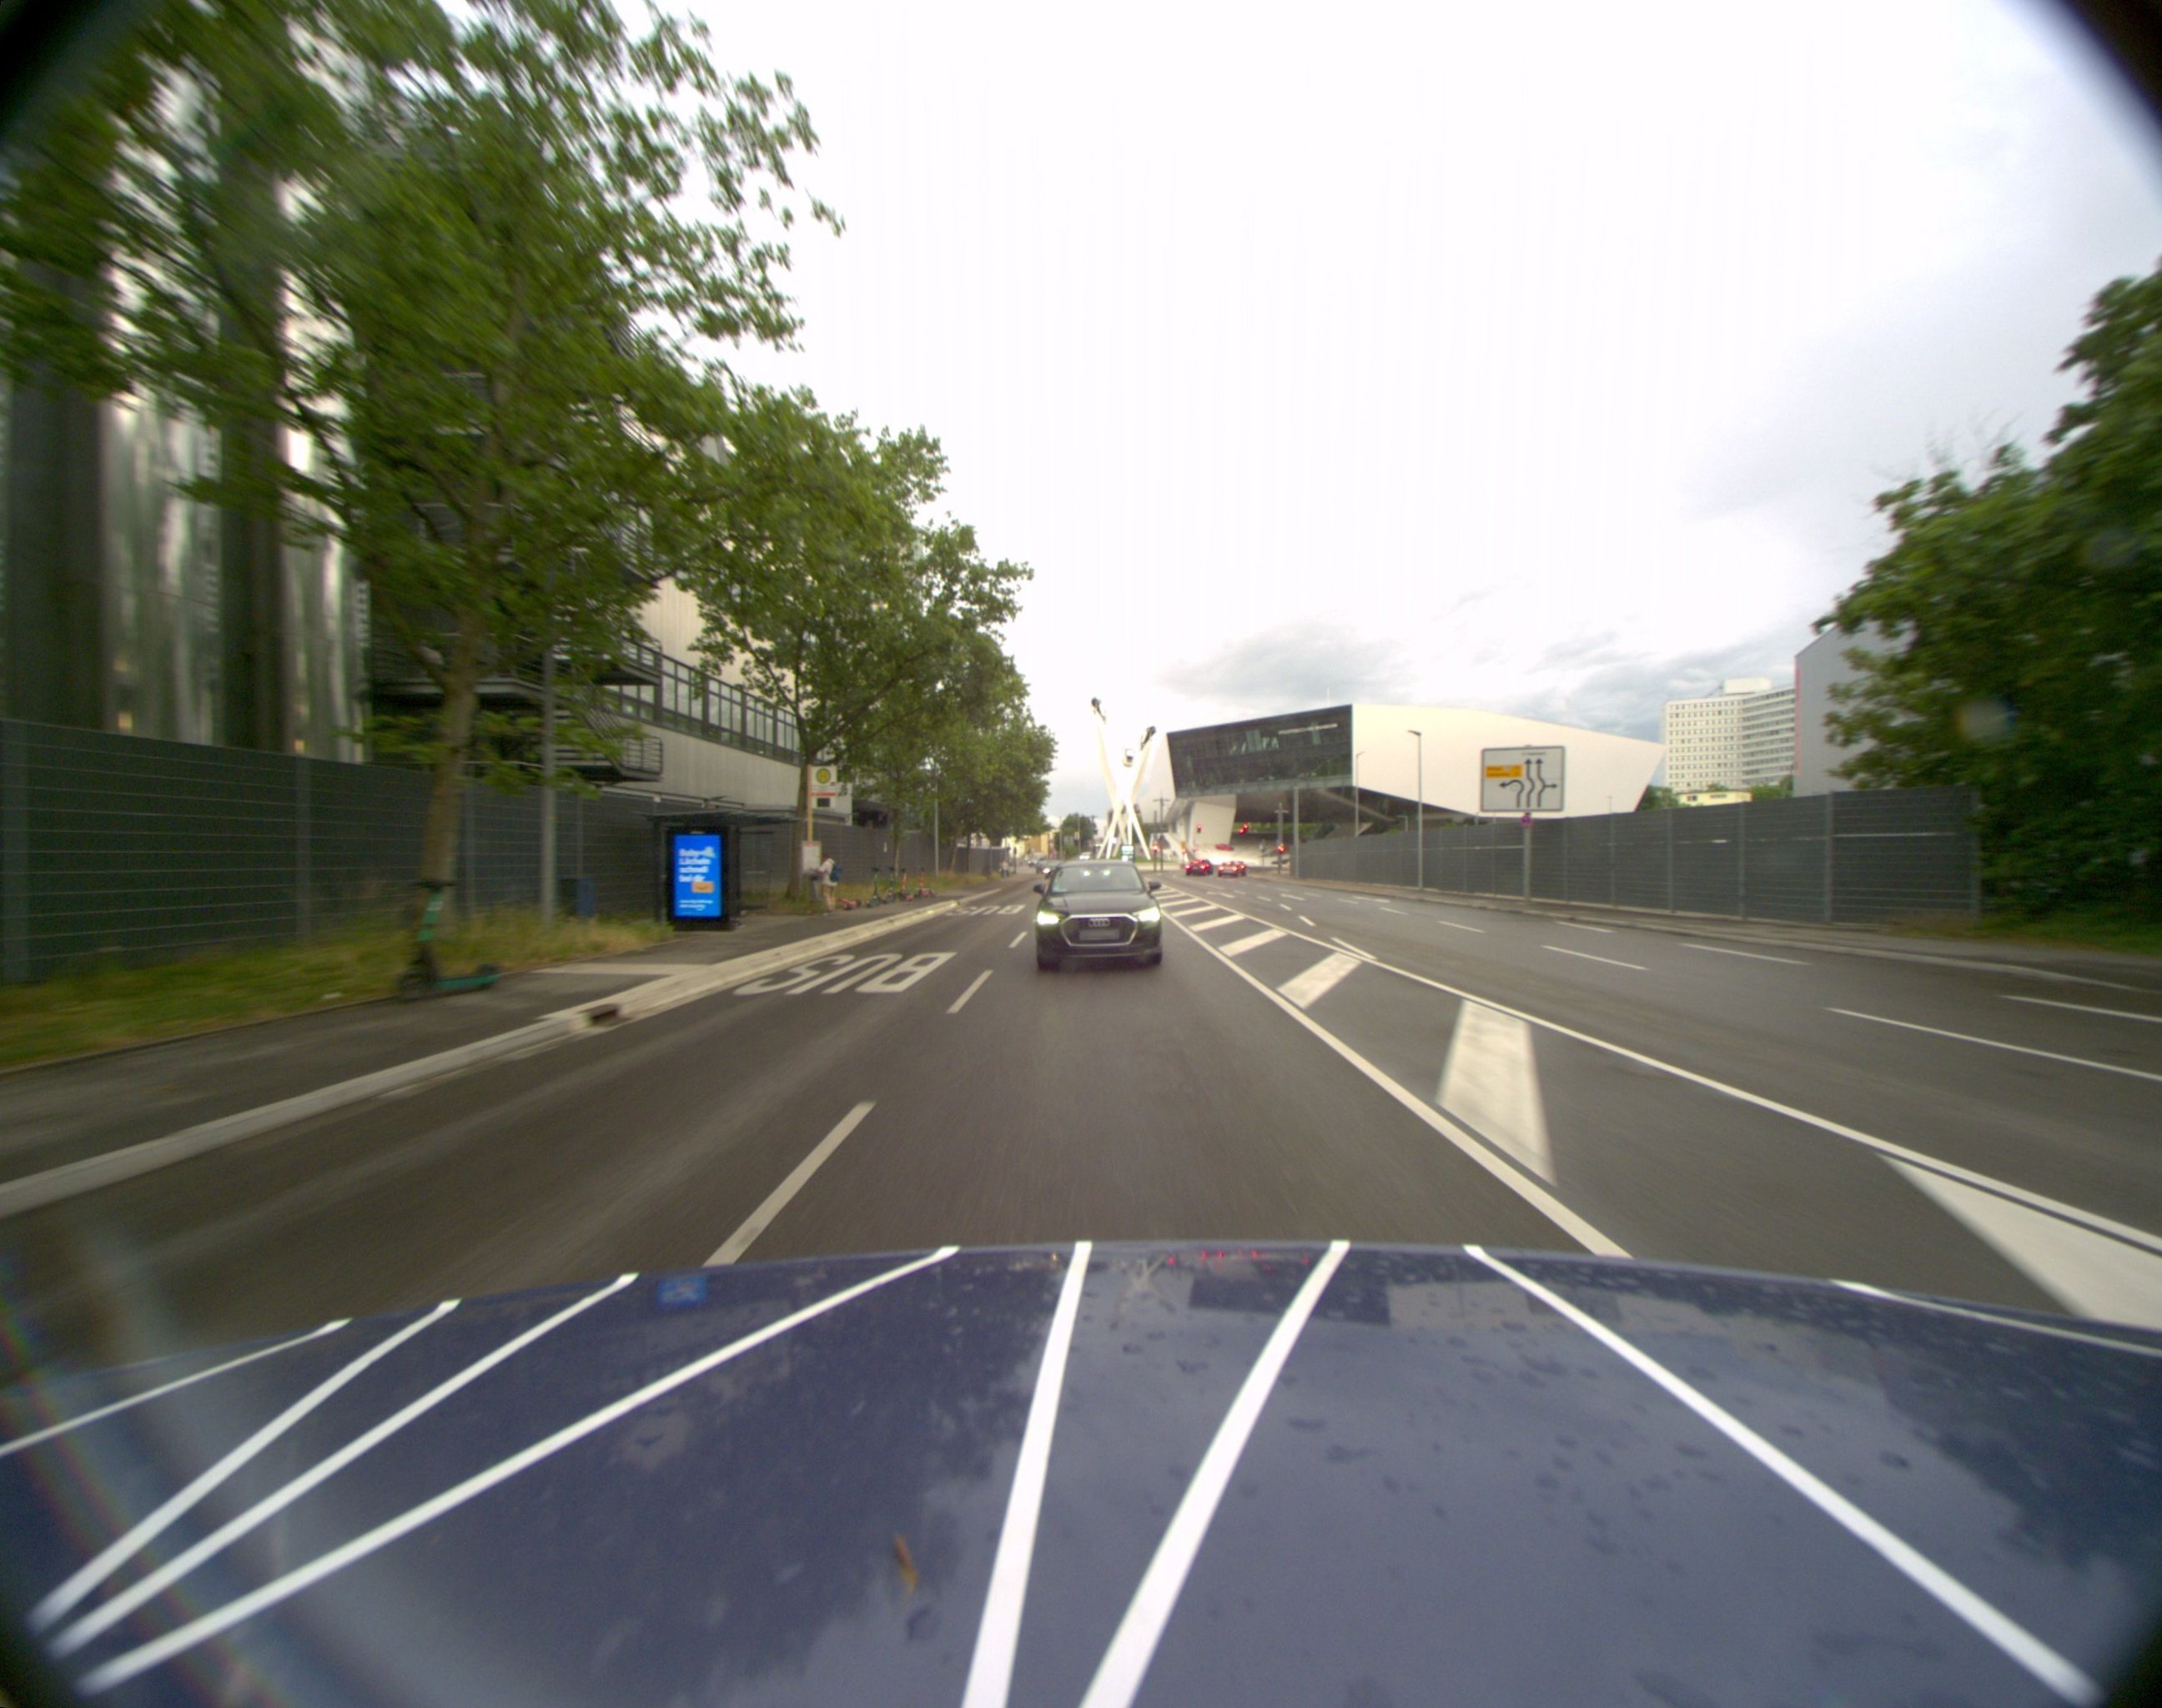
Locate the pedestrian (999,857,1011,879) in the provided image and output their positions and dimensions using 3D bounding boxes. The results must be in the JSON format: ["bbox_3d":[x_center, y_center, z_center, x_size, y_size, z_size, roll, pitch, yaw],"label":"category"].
[{"bbox_3d":[-5.660,1.039,56.490,0.723,1.610,0.833,2,1,0],"label":"pedestrian"}]

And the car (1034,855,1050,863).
[{"bbox_3d":[-7.070,0.915,136.947,1.878,1.509,3.856,1,0,14],"label":"car"}]

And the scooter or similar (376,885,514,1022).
[{"bbox_3d":[-6.764,1.010,8.142,0.329,1.301,1.246,0,0,6],"label":"scooter or similar"}]

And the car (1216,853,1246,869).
[{"bbox_3d":[14.316,0.627,72.465,2.267,1.468,4.053,0,0,19],"label":"car"}]

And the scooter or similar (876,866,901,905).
[{"bbox_3d":[-6.697,1.086,26.451,0.437,1.288,1.301,0,0,4],"label":"scooter or similar"}]

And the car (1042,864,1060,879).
[{"bbox_3d":[-3.344,1.962,85.736,1.880,1.509,3.851,1,0,0],"label":"car"}]

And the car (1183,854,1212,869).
[{"bbox_3d":[11.559,0.749,75.093,2.255,1.468,3.885,0,0,19],"label":"car"}]

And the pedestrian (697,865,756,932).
[{"bbox_3d":[-7.654,0.945,16.418,0.932,1.407,0.698,0,1,0],"label":"pedestrian"}]

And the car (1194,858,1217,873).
[{"bbox_3d":[13.384,1.221,81.470,1.878,1.641,3.857,0,0,17],"label":"car"}]

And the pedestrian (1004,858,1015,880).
[{"bbox_3d":[-5.649,1.167,59.954,0.723,1.657,0.833,2,1,0],"label":"pedestrian"}]

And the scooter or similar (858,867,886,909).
[{"bbox_3d":[-6.668,1.077,24.240,0.437,1.288,1.301,0,0,4],"label":"scooter or similar"}]

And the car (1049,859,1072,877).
[{"bbox_3d":[-1.785,1.190,65.172,1.881,1.485,4.075,1,0,-2],"label":"car"}]

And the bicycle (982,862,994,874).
[{"bbox_3d":[-7.427,1.137,60.861,0.727,0.870,1.905,-1,1,0],"label":"bicycle"}]

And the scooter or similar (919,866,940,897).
[{"bbox_3d":[-6.419,1.140,32.227,0.437,1.277,1.301,0,0,8],"label":"scooter or similar"}]

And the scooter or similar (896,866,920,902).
[{"bbox_3d":[-6.455,1.090,28.397,0.437,1.288,1.368,0,0,8],"label":"scooter or similar"}]

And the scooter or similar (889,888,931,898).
[{"bbox_3d":[-6.949,1.581,30.898,1.098,0.343,1.260,0,0,25],"label":"scooter or similar"}]

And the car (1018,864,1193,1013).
[{"bbox_3d":[0.268,0.994,11.249,1.951,1.609,5.277,-1,0,0],"label":"car"}]

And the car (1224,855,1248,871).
[{"bbox_3d":[16.351,0.888,79.934,1.861,1.641,3.793,0,0,20],"label":"car"}]

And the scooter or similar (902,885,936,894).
[{"bbox_3d":[-7.148,1.556,33.474,1.184,0.309,1.200,0,0,-27],"label":"scooter or similar"}]

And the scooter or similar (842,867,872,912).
[{"bbox_3d":[-6.737,1.047,22.888,0.437,1.288,1.301,0,0,4],"label":"scooter or similar"}]

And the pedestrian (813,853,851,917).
[{"bbox_3d":[-6.774,0.825,20.715,0.778,1.700,0.729,0,1,1],"label":"pedestrian"}]
